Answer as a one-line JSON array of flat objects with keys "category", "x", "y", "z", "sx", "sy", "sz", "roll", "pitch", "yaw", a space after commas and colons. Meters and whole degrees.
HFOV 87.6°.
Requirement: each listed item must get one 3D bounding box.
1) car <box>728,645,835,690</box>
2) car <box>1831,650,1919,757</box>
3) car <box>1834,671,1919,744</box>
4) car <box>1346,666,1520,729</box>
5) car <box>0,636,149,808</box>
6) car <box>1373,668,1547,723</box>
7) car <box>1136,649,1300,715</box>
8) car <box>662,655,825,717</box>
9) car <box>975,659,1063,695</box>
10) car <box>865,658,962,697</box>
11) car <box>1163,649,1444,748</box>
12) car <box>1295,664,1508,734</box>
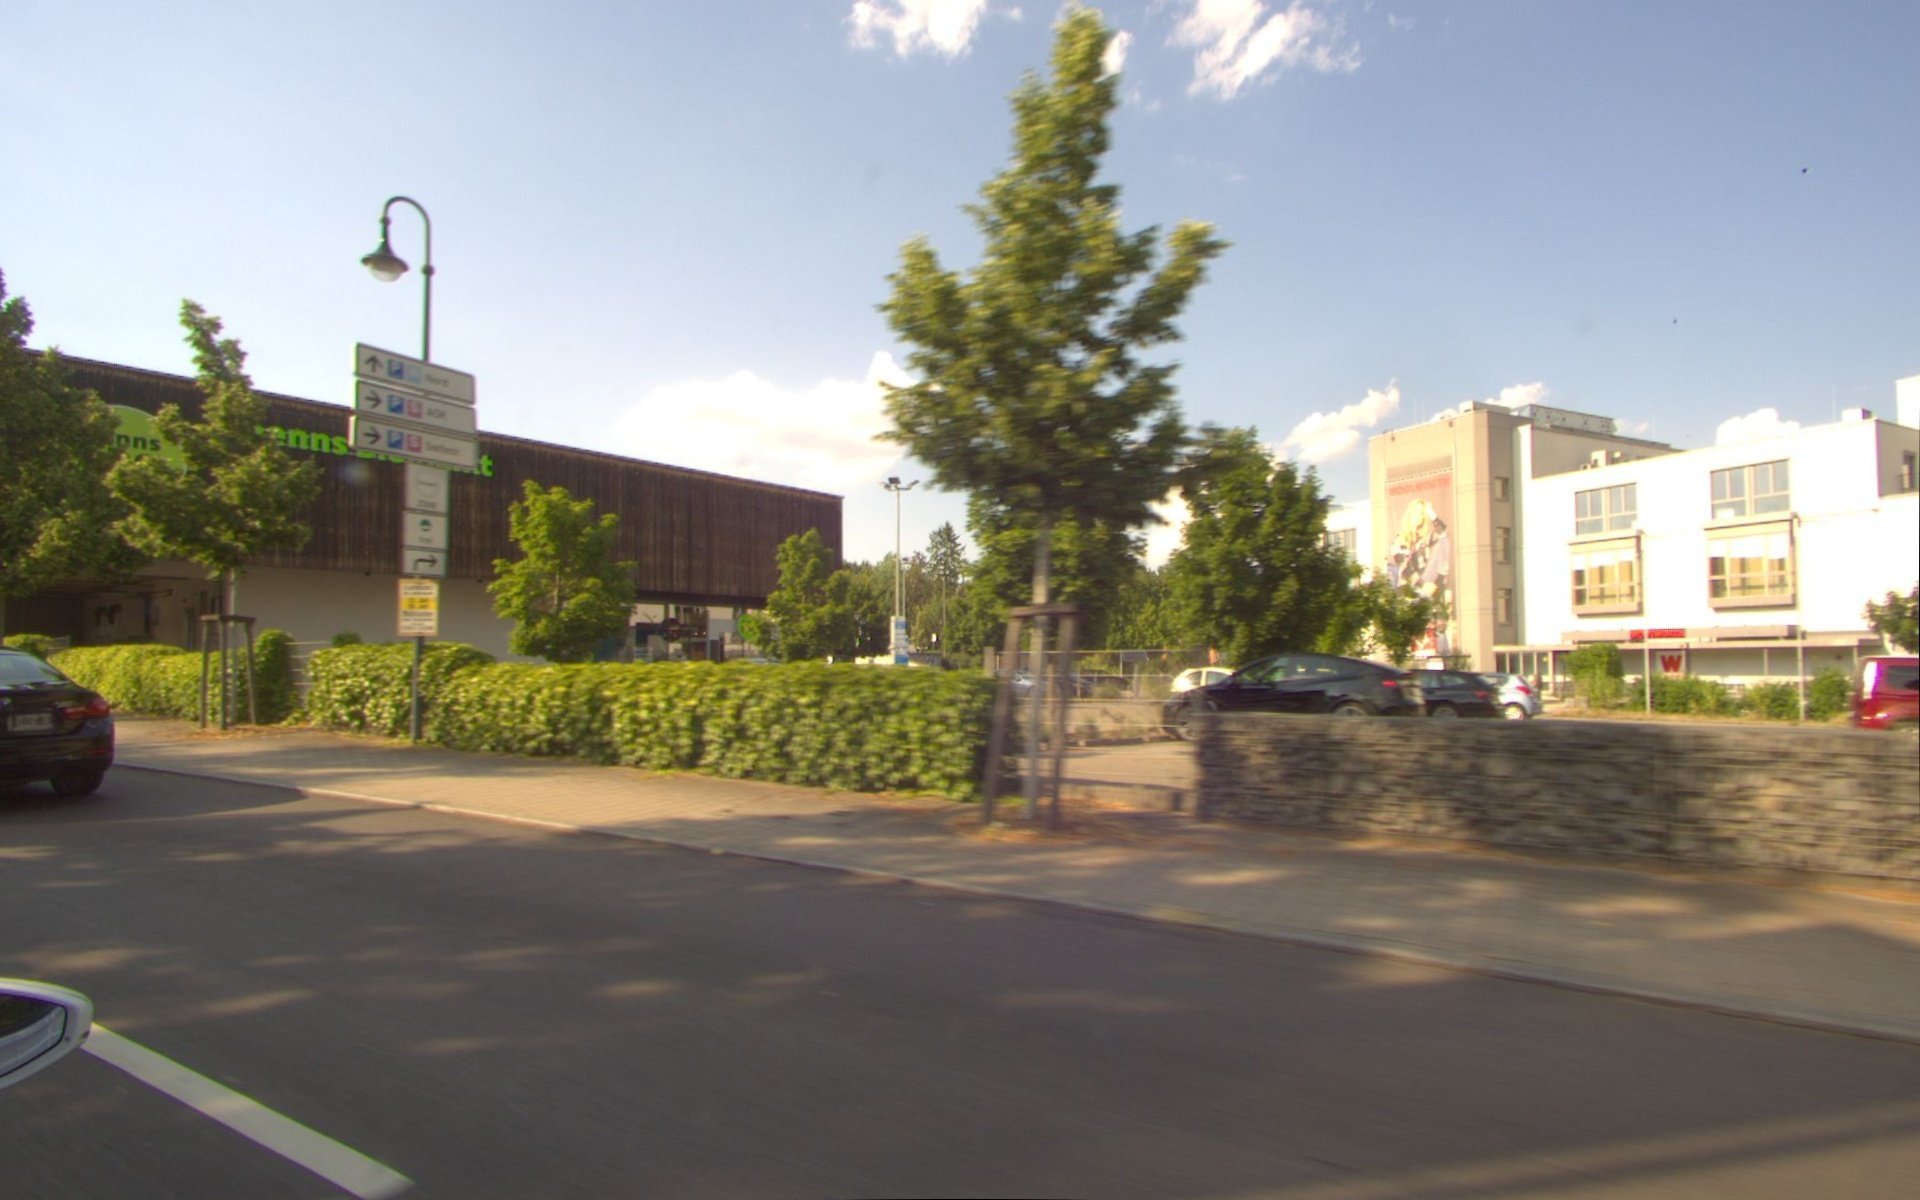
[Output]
[{"category": "car", "x": -7.036, "y": 2.628, "z": 39.344, "sx": 3.950, "sy": 1.648, "sz": 1.987, "roll": -1, "pitch": -3, "yaw": 38}, {"category": "car", "x": 18.628, "y": 1.867, "z": 17.740, "sx": 4.585, "sy": 1.877, "sz": 1.989, "roll": -1, "pitch": -3, "yaw": 35}, {"category": "car", "x": 23.807, "y": 2.568, "z": 23.688, "sx": 4.488, "sy": 1.668, "sz": 1.989, "roll": -1, "pitch": -3, "yaw": 35}, {"category": "car", "x": 12.455, "y": 2.513, "z": 26.401, "sx": 3.899, "sy": 1.461, "sz": 1.990, "roll": -1, "pitch": -4, "yaw": 35}, {"category": "car", "x": -9.563, "y": 1.018, "z": 9.146, "sx": 4.287, "sy": 1.381, "sz": 1.919, "roll": -1, "pitch": -2, "yaw": 29}, {"category": "car", "x": 14.982, "y": 2.812, "z": 30.119, "sx": 4.487, "sy": 1.461, "sz": 1.869, "roll": -1, "pitch": -3, "yaw": 35}, {"category": "car", "x": 7.551, "y": 2.386, "z": 29.504, "sx": 4.265, "sy": 1.743, "sz": 1.883, "roll": -1, "pitch": -6, "yaw": 40}, {"category": "car", "x": -6.170, "y": 2.372, "z": 28.337, "sx": 4.487, "sy": 1.558, "sz": 1.990, "roll": -1, "pitch": -3, "yaw": 35}, {"category": "car", "x": 2.911, "y": 3.768, "z": 49.649, "sx": 3.950, "sy": 1.648, "sz": 1.987, "roll": -1, "pitch": -3, "yaw": 38}, {"category": "car", "x": -2.069, "y": 3.379, "z": 44.160, "sx": 3.950, "sy": 1.570, "sz": 1.987, "roll": -1, "pitch": -3, "yaw": 38}, {"category": "car", "x": 6.205, "y": 1.743, "z": 18.253, "sx": 4.487, "sy": 1.550, "sz": 1.991, "roll": -1, "pitch": -5, "yaw": 35}, {"category": "car", "x": 10.691, "y": 2.335, "z": 24.375, "sx": 4.487, "sy": 1.461, "sz": 1.990, "roll": -1, "pitch": -4, "yaw": 35}]
